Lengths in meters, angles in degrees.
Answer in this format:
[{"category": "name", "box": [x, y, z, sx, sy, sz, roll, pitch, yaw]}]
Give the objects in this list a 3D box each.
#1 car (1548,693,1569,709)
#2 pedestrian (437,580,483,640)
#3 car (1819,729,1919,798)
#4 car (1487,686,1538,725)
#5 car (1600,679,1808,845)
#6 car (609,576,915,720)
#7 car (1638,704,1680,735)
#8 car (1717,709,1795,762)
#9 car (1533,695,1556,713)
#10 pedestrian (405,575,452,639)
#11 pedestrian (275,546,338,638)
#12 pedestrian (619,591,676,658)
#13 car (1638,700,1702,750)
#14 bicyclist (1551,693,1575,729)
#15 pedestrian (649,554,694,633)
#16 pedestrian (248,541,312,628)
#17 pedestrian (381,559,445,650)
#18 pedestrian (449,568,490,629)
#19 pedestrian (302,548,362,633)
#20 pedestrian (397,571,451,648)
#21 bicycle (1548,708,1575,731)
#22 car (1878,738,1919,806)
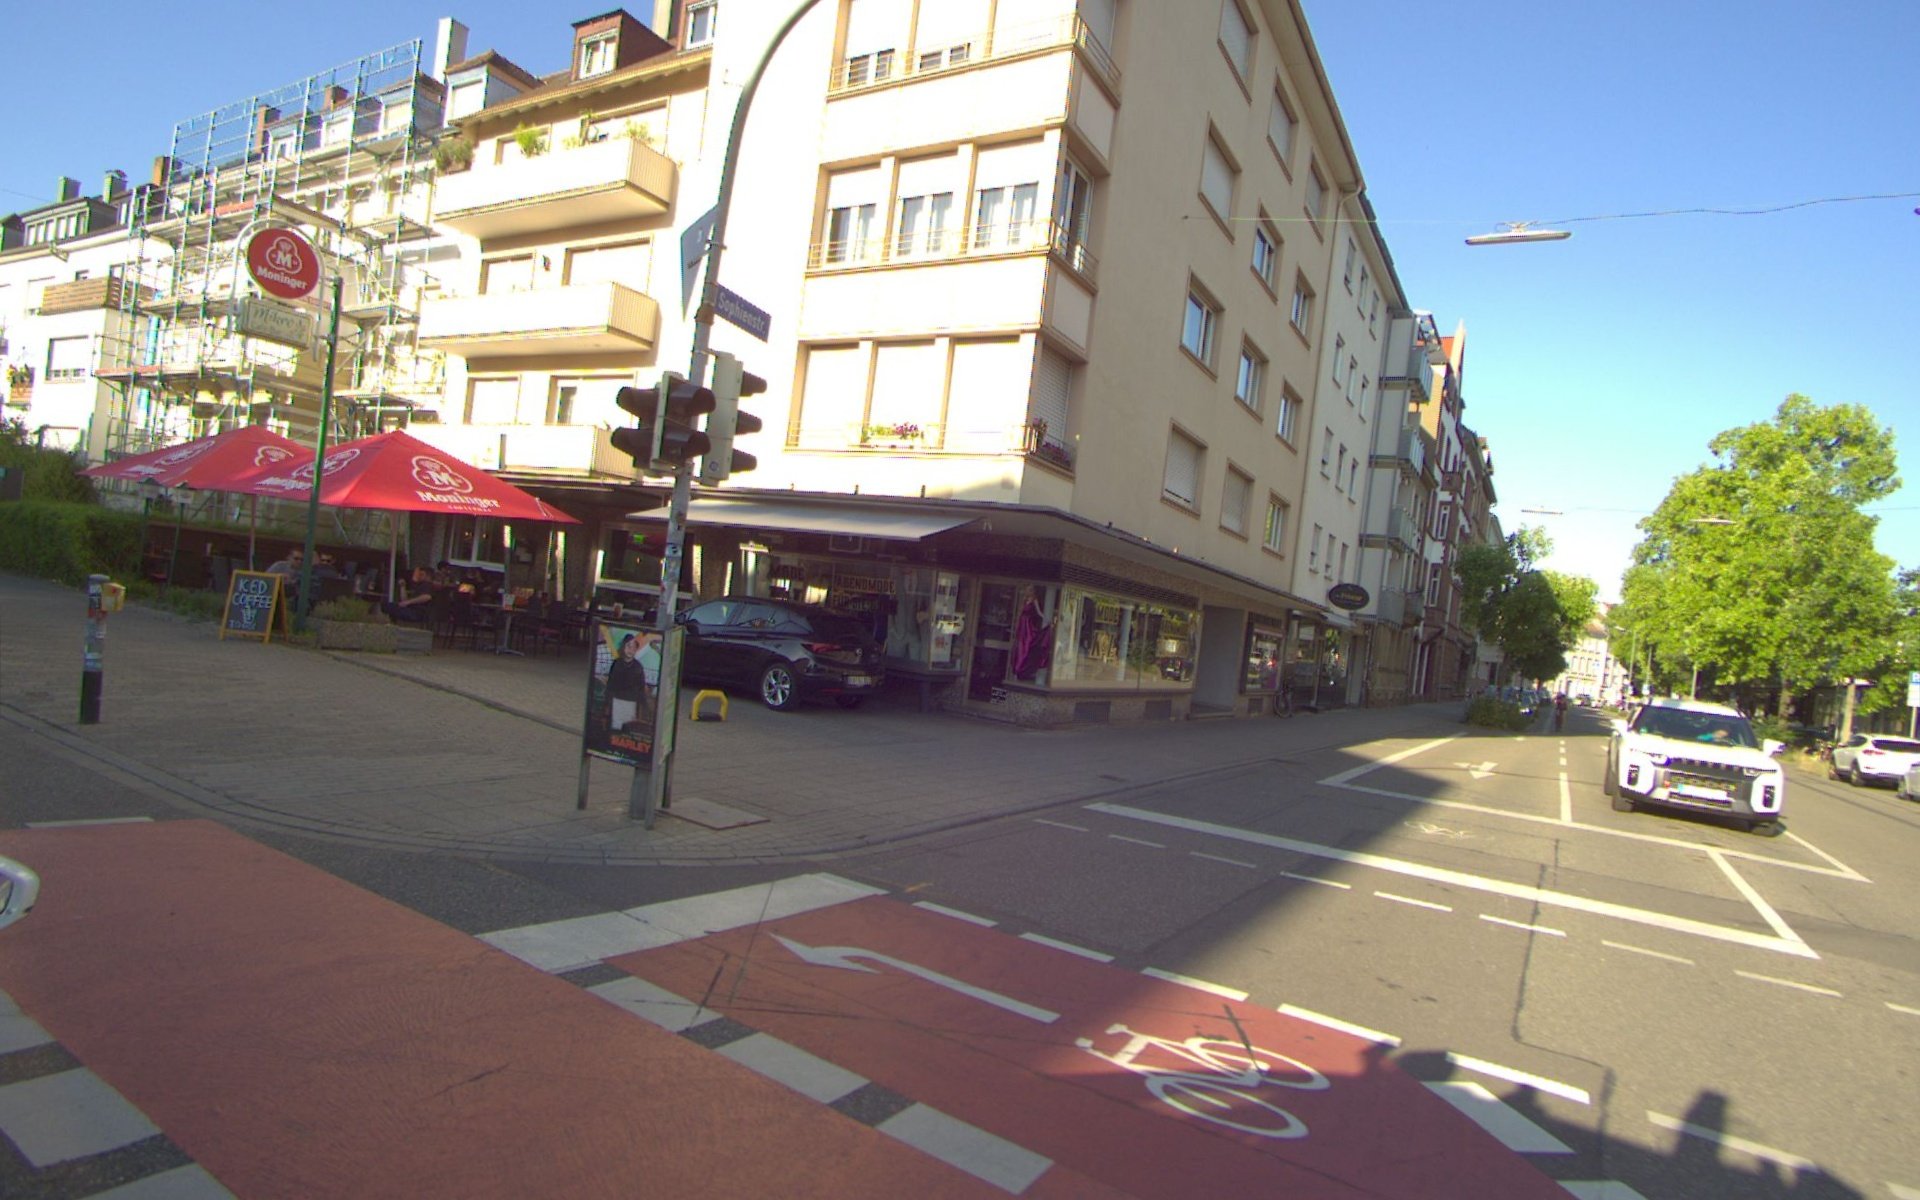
[{"category": "car", "box": [71.566, 12.024, 120.315, 1.624, 1.629, 3.653, 7, -1, 26]}, {"category": "pedestrian", "box": [-9.124, 0.183, 18.359, 0.407, 1.002, 0.524, 6, -1, 37]}, {"category": "car", "box": [29.147, 5.167, 31.952, 1.920, 1.680, 4.348, 7, -1, 31]}, {"category": "car", "box": [28.848, 5.496, 52.447, 1.921, 1.680, 4.347, 7, -1, 32]}, {"category": "car", "box": [10.959, 2.272, 15.150, 1.920, 1.860, 4.348, 7, -1, 31]}, {"category": "car", "box": [-2.943, 0.658, 14.678, 4.134, 1.502, 1.831, 7, -1, 32]}, {"category": "car", "box": [46.069, 7.857, 66.266, 1.924, 1.680, 4.340, 7, -1, 38]}, {"category": "car", "box": [34.851, 5.874, 44.180, 1.920, 1.860, 4.348, 7, -1, 31]}, {"category": "car", "box": [60.462, 10.710, 104.061, 1.624, 1.578, 3.653, 7, -1, 26]}, {"category": "pedestrian", "box": [-9.452, 0.123, 17.899, 0.407, 1.061, 0.524, 6, -1, 37]}, {"category": "pedestrian", "box": [-8.924, -0.110, 13.736, 0.622, 1.164, 0.412, 6, -1, 36]}, {"category": "pedestrian", "box": [-5.905, 0.471, 19.015, 0.709, 1.164, 0.609, 6, -1, 34]}, {"category": "car", "box": [29.318, 5.134, 41.606, 1.922, 1.680, 4.344, 7, -1, 35]}, {"category": "bicyclist", "box": [27.418, 5.064, 45.744, 0.733, 1.521, 0.880, 7, 0, 37]}, {"category": "pedestrian", "box": [-6.912, -0.152, 24.071, 0.673, 1.796, 0.525, 7, 0, 32]}, {"category": "pedestrian", "box": [-9.687, -0.218, 14.331, 0.518, 1.164, 0.493, 6, -1, 36]}, {"category": "pedestrian", "box": [-8.265, 0.070, 15.204, 0.532, 1.298, 0.524, 7, -1, 34]}, {"category": "pedestrian", "box": [-10.127, -0.030, 20.777, 0.407, 1.203, 0.524, 5, -2, 37]}, {"category": "pedestrian", "box": [-9.292, -0.137, 14.878, 0.518, 1.164, 0.486, 6, -1, 36]}, {"category": "pedestrian", "box": [-8.658, 0.153, 16.257, 0.407, 1.164, 0.524, 6, -1, 37]}, {"category": "bicycle", "box": [27.315, 5.418, 45.669, 0.733, 0.932, 2.391, 7, -1, 37]}, {"category": "car", "box": [25.686, 4.569, 26.003, 1.920, 1.559, 4.285, 5, -2, 30]}]
